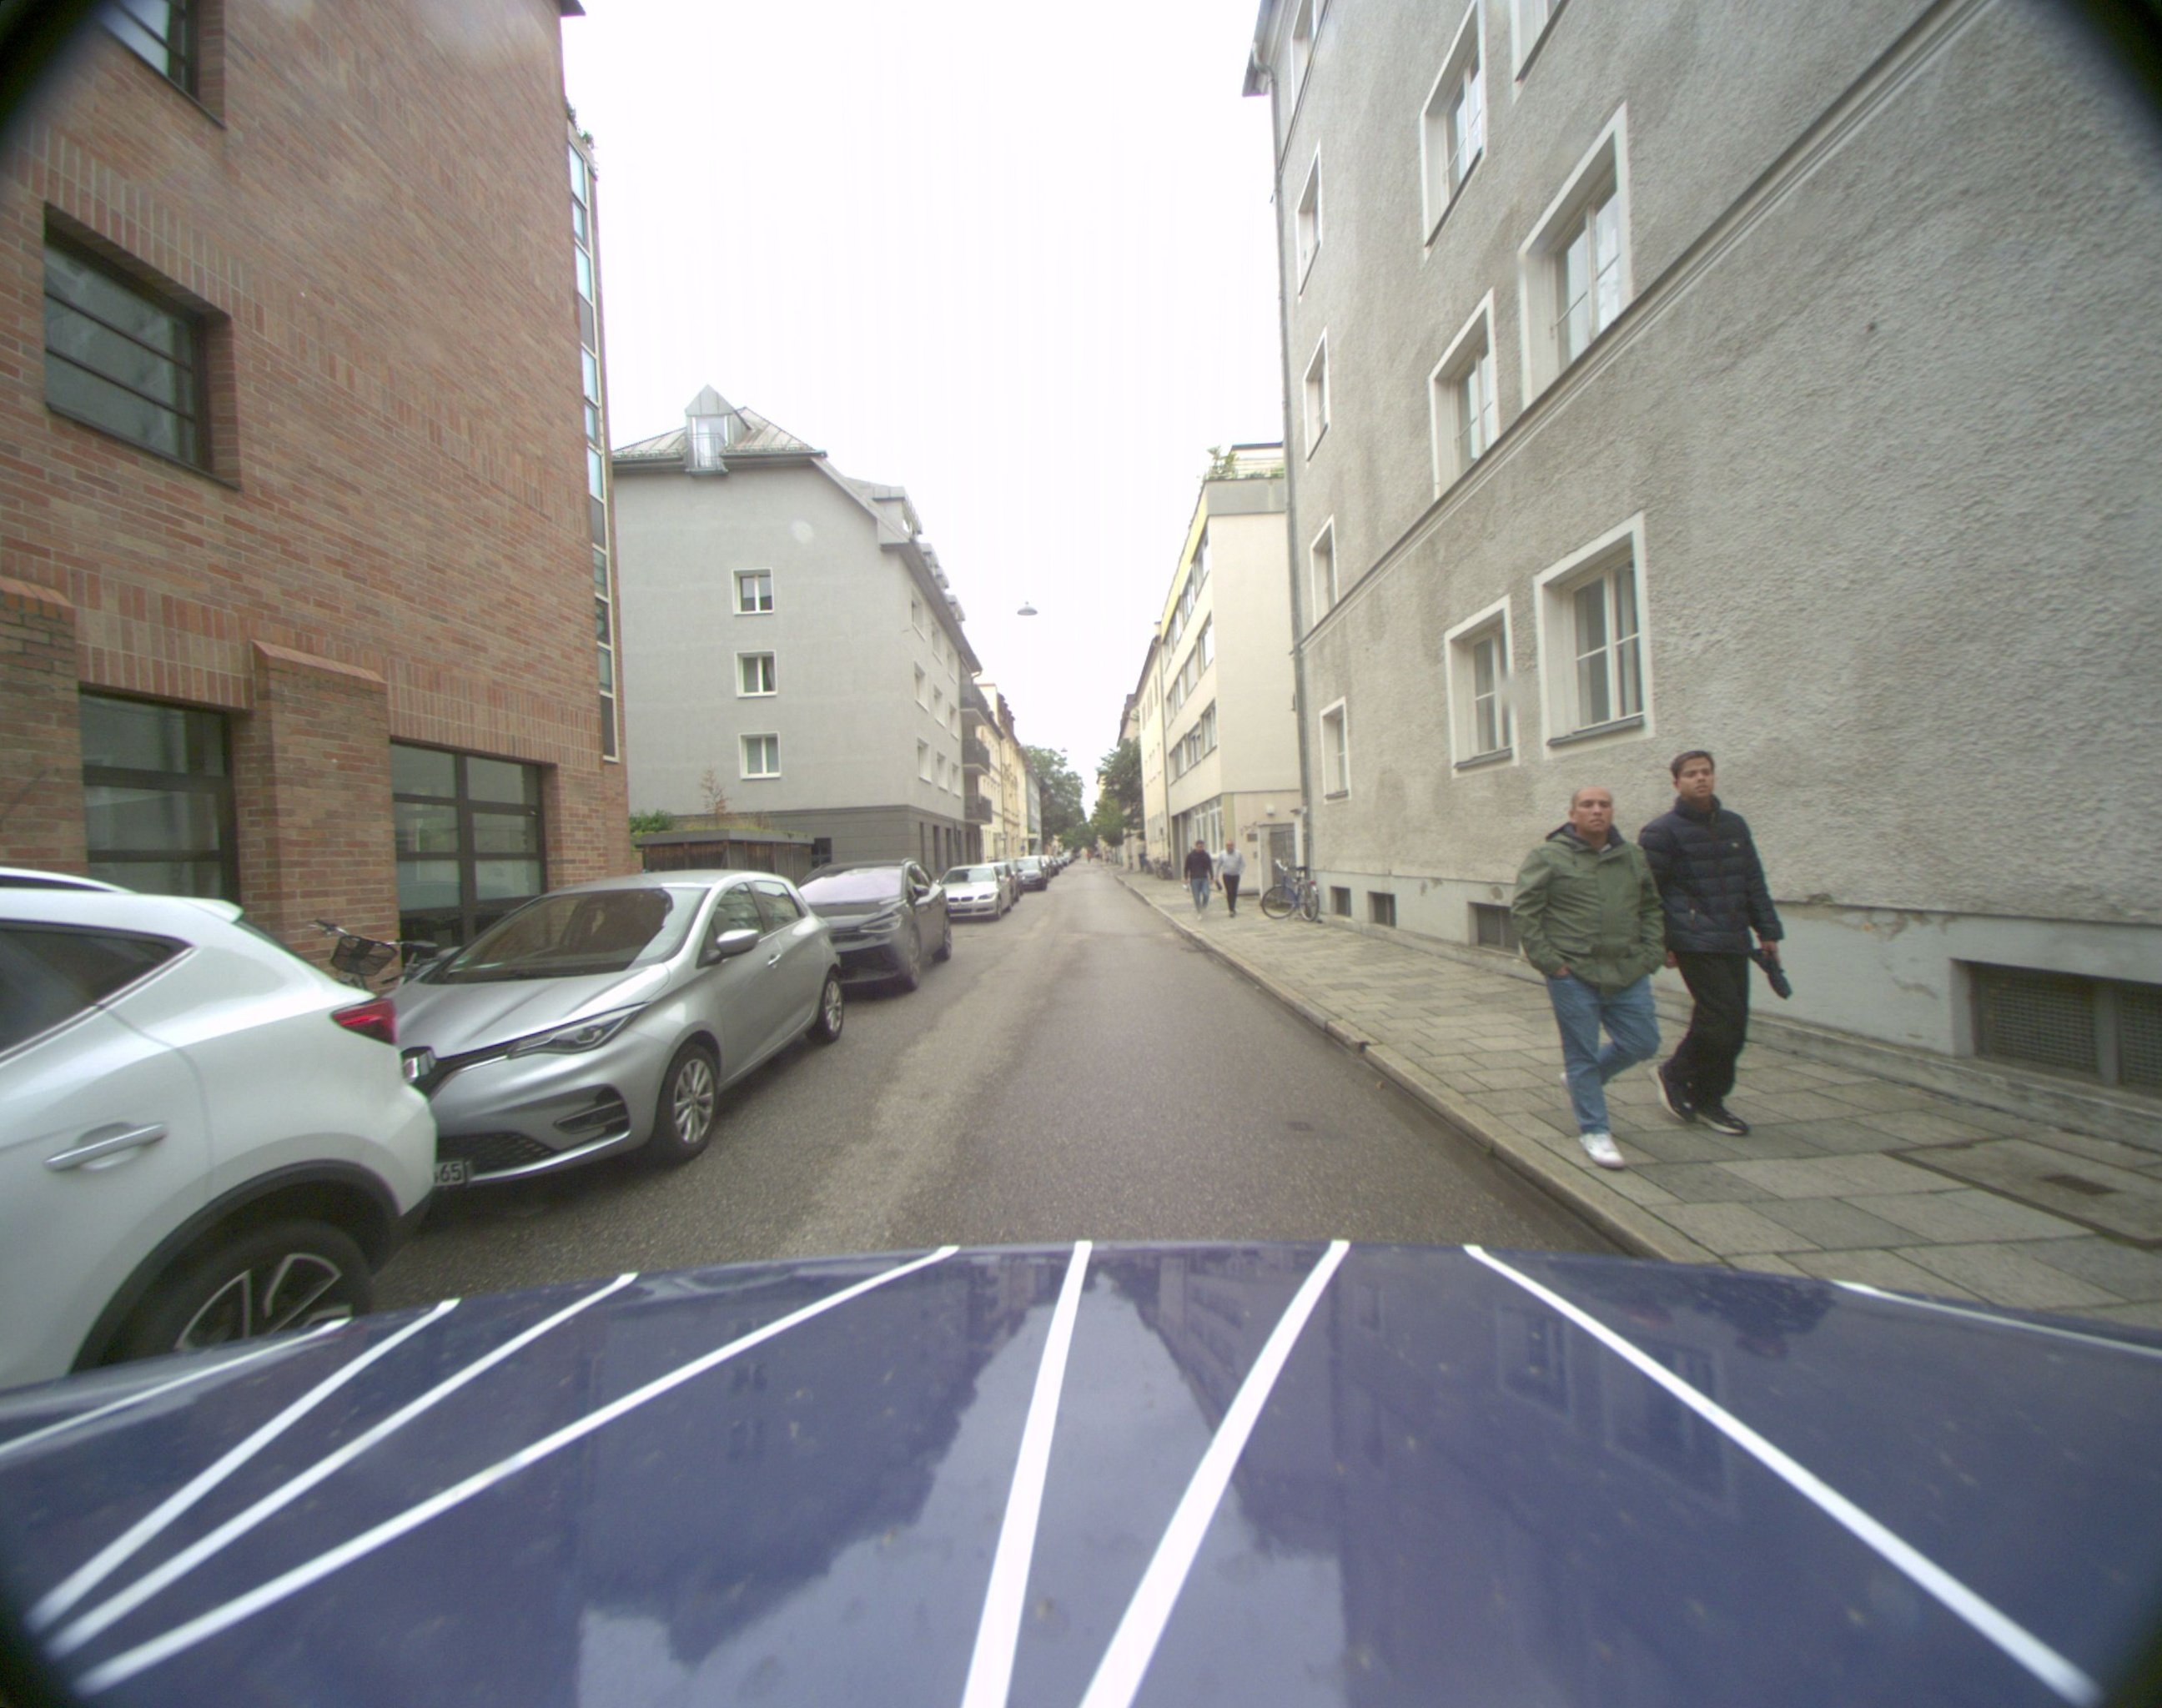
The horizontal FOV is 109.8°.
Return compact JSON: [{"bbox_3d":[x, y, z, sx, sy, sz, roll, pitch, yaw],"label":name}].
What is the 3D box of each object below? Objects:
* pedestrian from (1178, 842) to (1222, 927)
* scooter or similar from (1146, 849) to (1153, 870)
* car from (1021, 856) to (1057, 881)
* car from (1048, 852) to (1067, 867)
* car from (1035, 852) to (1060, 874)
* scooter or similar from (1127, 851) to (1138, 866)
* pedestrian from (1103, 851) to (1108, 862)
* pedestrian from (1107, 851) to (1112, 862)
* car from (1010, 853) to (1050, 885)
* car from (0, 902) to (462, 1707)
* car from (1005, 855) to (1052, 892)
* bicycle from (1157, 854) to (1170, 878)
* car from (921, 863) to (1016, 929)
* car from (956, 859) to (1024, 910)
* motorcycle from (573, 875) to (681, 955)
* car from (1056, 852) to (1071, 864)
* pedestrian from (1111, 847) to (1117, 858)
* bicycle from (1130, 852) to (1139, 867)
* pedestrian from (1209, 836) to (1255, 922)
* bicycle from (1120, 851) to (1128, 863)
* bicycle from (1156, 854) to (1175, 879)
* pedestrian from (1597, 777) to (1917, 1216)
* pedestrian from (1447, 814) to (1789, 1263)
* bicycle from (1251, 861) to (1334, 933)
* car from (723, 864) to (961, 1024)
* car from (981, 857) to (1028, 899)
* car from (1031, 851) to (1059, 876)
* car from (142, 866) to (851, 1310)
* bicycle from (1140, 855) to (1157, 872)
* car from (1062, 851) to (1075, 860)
[{"bbox_3d":[2.598,0.641,16.609,0.720,1.755,0.838,-4,1,1],"label":"pedestrian"},{"bbox_3d":[4.409,0.350,48.951,0.318,1.368,1.239,-2,1,0],"label":"scooter or similar"},{"bbox_3d":[-2.484,0.826,45.380,1.812,1.355,3.945,-2,0,1],"label":"car"},{"bbox_3d":[-2.477,0.585,81.539,1.830,1.327,4.508,-6,0,0],"label":"car"},{"bbox_3d":[-2.620,0.677,60.691,1.706,1.597,4.684,-3,0,0],"label":"car"},{"bbox_3d":[4.342,0.398,64.353,0.553,1.137,1.359,-5,1,17],"label":"scooter or similar"},{"bbox_3d":[4.137,0.406,127.978,0.766,1.742,0.970,-2,1,0],"label":"pedestrian"},{"bbox_3d":[4.000,0.343,106.895,0.624,1.570,0.714,-4,1,0],"label":"pedestrian"},{"bbox_3d":[-2.657,0.745,40.171,1.880,1.561,4.315,-1,1,-1],"label":"car"},{"bbox_3d":[-2.957,1.012,0.452,1.753,1.620,4.195,-2,0,-2],"label":"car"},{"bbox_3d":[-2.392,0.858,35.541,1.844,1.520,4.292,-3,0,0],"label":"car"},{"bbox_3d":[4.239,0.584,39.080,0.459,1.153,1.605,-5,1,2],"label":"bicycle"},{"bbox_3d":[-2.886,1.023,20.524,1.841,1.409,4.600,-3,0,0],"label":"car"},{"bbox_3d":[-2.966,0.951,25.537,1.750,1.453,4.149,-3,0,0],"label":"car"},{"bbox_3d":[-8.625,1.115,14.531,0.541,1.337,1.942,-1,1,12],"label":"motorcycle"},{"bbox_3d":[-2.268,0.497,98.926,1.846,1.420,4.263,-6,0,-1],"label":"car"},{"bbox_3d":[4.648,-0.205,106.840,0.615,1.612,0.687,-5,1,1],"label":"pedestrian"},{"bbox_3d":[4.370,0.411,62.288,0.545,1.154,1.882,-4,1,-1],"label":"bicycle"},{"bbox_3d":[3.310,0.528,16.760,0.720,1.786,0.916,-4,1,1],"label":"pedestrian"},{"bbox_3d":[4.280,0.332,75.931,0.539,1.132,1.916,-4,1,0],"label":"bicycle"},{"bbox_3d":[4.145,0.611,37.366,0.563,1.153,1.720,-3,1,-5],"label":"bicycle"},{"bbox_3d":[2.956,0.564,3.416,0.614,1.704,0.823,-5,1,0],"label":"pedestrian"},{"bbox_3d":[2.244,0.694,3.314,0.755,1.649,0.906,-5,1,1],"label":"pedestrian"},{"bbox_3d":[3.892,0.765,14.115,0.644,1.210,1.662,-2,1,-18],"label":"bicycle"},{"bbox_3d":[-2.929,1.003,10.435,1.890,1.546,4.390,-3,0,-1],"label":"car"},{"bbox_3d":[-3.021,0.908,30.577,1.525,1.503,3.202,-3,0,0],"label":"car"},{"bbox_3d":[-2.580,0.635,54.863,1.680,1.651,4.512,-3,0,0],"label":"car"},{"bbox_3d":[-2.928,0.971,5.018,1.726,1.626,3.879,-2,1,-3],"label":"car"},{"bbox_3d":[4.170,0.567,47.224,0.705,0.978,1.822,-7,1,-4],"label":"bicycle"},{"bbox_3d":[-2.032,0.269,128.234,1.998,1.306,4.593,-2,0,1],"label":"car"}]
